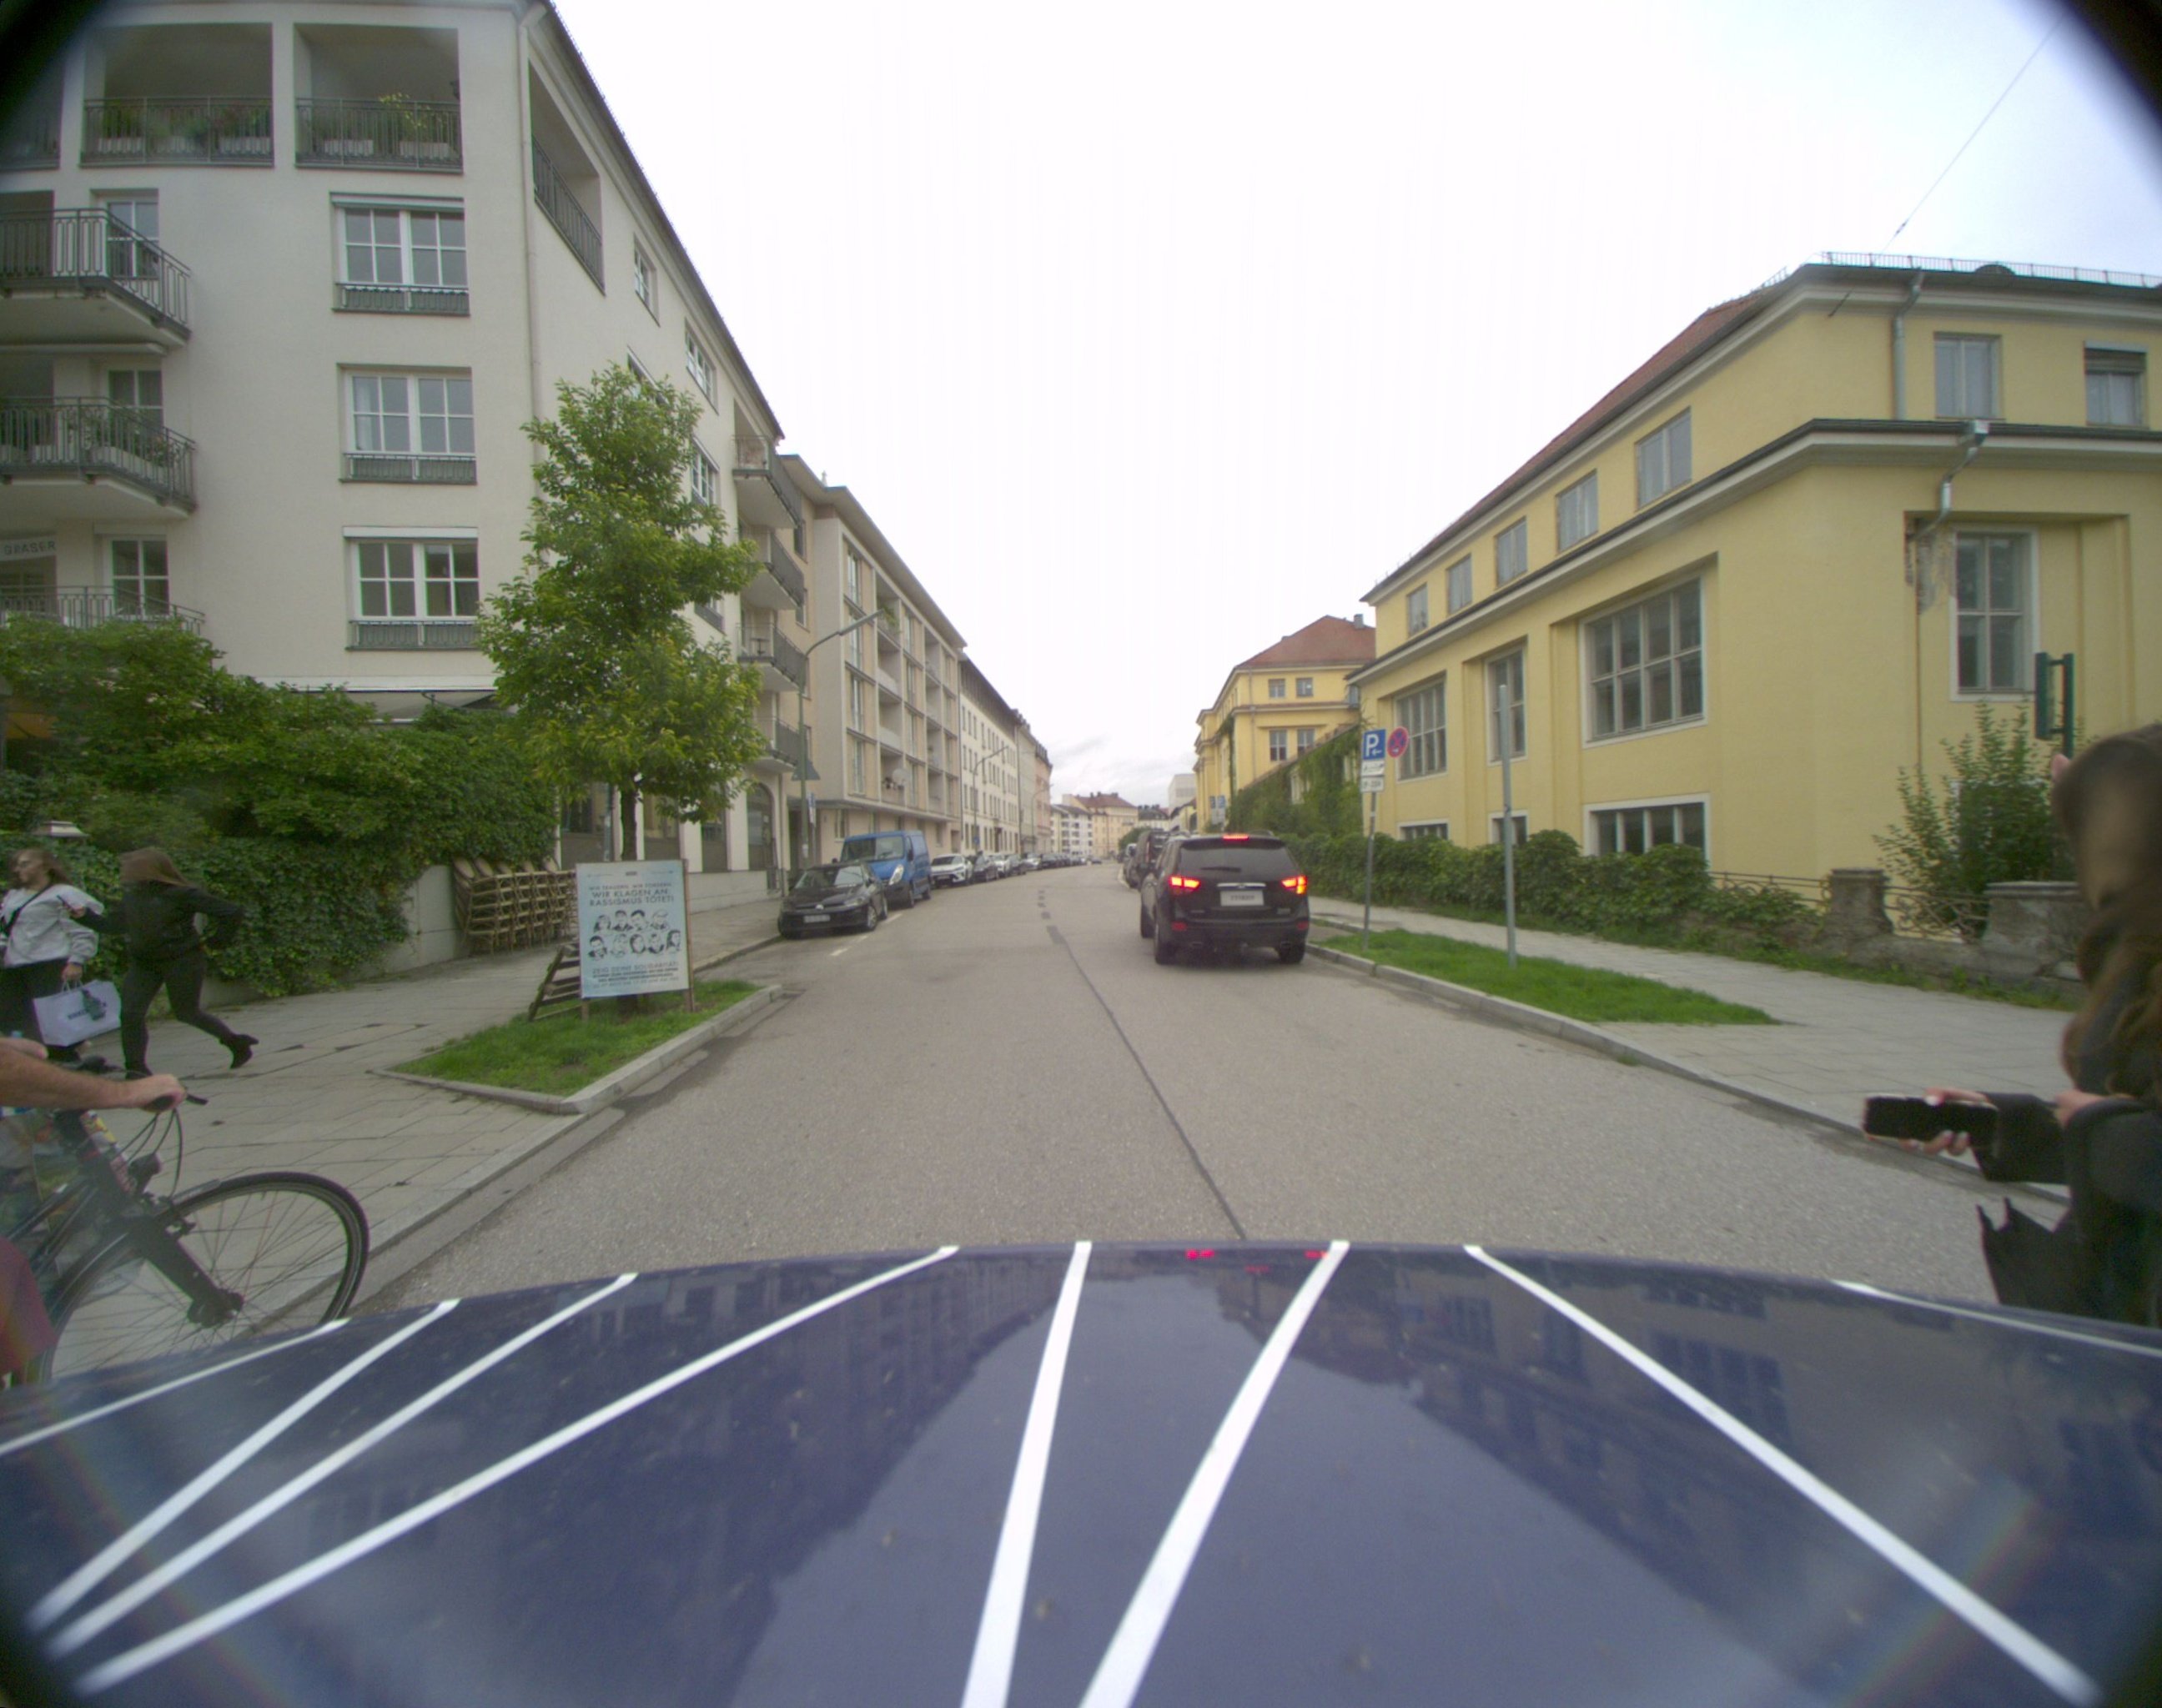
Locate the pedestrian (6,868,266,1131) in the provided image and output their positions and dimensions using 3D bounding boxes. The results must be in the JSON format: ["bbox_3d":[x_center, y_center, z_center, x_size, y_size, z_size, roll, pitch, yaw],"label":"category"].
[{"bbox_3d":[-6.404,0.927,5.215,0.680,1.619,0.829,-1,2,-7],"label":"pedestrian"}]

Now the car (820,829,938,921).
[{"bbox_3d":[-5.802,0.468,22.580,2.115,2.201,5.025,-6,2,-2],"label":"car"}]

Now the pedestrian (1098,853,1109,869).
[{"bbox_3d":[4.093,1.339,139.918,1.929,2.933,2.025,0,0,4],"label":"pedestrian"}]

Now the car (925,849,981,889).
[{"bbox_3d":[-5.682,0.643,34.174,1.780,1.514,4.303,-6,0,-2],"label":"car"}]

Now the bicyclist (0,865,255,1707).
[{"bbox_3d":[-2.487,0.836,1.334,0.877,1.600,1.050,-1,0,7],"label":"bicyclist"}]

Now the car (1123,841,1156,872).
[{"bbox_3d":[3.661,0.154,48.133,1.897,1.788,4.882,3,0,4],"label":"car"}]

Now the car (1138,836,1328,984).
[{"bbox_3d":[1.964,0.667,11.284,1.998,1.709,4.615,-1,0,2],"label":"car"}]

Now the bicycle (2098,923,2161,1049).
[{"bbox_3d":[8.468,1.027,5.445,0.435,0.888,1.327,-2,3,-23],"label":"bicycle"}]

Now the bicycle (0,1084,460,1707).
[{"bbox_3d":[-2.494,1.237,1.295,0.878,1.013,2.192,-1,0,7],"label":"bicycle"}]

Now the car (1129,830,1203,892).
[{"bbox_3d":[2.887,0.224,26.802,1.930,1.967,4.621,1,0,-2],"label":"car"}]

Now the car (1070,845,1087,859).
[{"bbox_3d":[-0.264,-0.222,94.055,1.768,1.531,4.001,-4,0,4],"label":"car"}]

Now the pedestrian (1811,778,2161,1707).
[{"bbox_3d":[1.341,0.770,0.780,0.544,1.687,0.665,0,1,-16],"label":"pedestrian"}]

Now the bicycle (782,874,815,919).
[{"bbox_3d":[-7.322,1.084,19.745,0.567,1.063,1.785,-1,0,-13],"label":"bicycle"}]

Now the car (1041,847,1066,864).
[{"bbox_3d":[-2.488,0.111,70.161,1.877,1.439,4.701,-3,0,2],"label":"car"}]

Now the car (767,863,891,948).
[{"bbox_3d":[-5.231,0.981,16.324,1.720,1.387,3.997,-5,1,-8],"label":"car"}]

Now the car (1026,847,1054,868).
[{"bbox_3d":[-3.231,0.258,60.503,1.618,1.508,3.381,-5,0,5],"label":"car"}]

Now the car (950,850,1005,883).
[{"bbox_3d":[-5.260,0.609,39.302,1.776,1.421,4.694,-6,0,4],"label":"car"}]

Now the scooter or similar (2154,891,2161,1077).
[{"bbox_3d":[7.778,0.856,4.793,1.262,1.237,0.394,-1,3,7],"label":"scooter or similar"}]

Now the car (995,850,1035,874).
[{"bbox_3d":[-4.235,0.492,49.484,1.831,1.373,4.492,-4,0,4],"label":"car"}]

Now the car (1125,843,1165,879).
[{"bbox_3d":[3.089,0.325,37.444,1.706,1.597,4.491,2,0,2],"label":"car"}]

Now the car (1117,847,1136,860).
[{"bbox_3d":[8.756,-0.097,147.413,2.847,2.536,6.891,-1,0,-3],"label":"car"}]

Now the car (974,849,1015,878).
[{"bbox_3d":[-4.998,0.519,44.481,1.706,1.460,4.120,-6,0,2],"label":"car"}]

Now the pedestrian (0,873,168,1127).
[{"bbox_3d":[-7.257,0.952,5.255,0.809,1.597,0.829,-1,2,-5],"label":"pedestrian"}]

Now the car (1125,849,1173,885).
[{"bbox_3d":[2.832,0.504,32.298,1.711,1.357,4.002,3,0,1],"label":"car"}]
